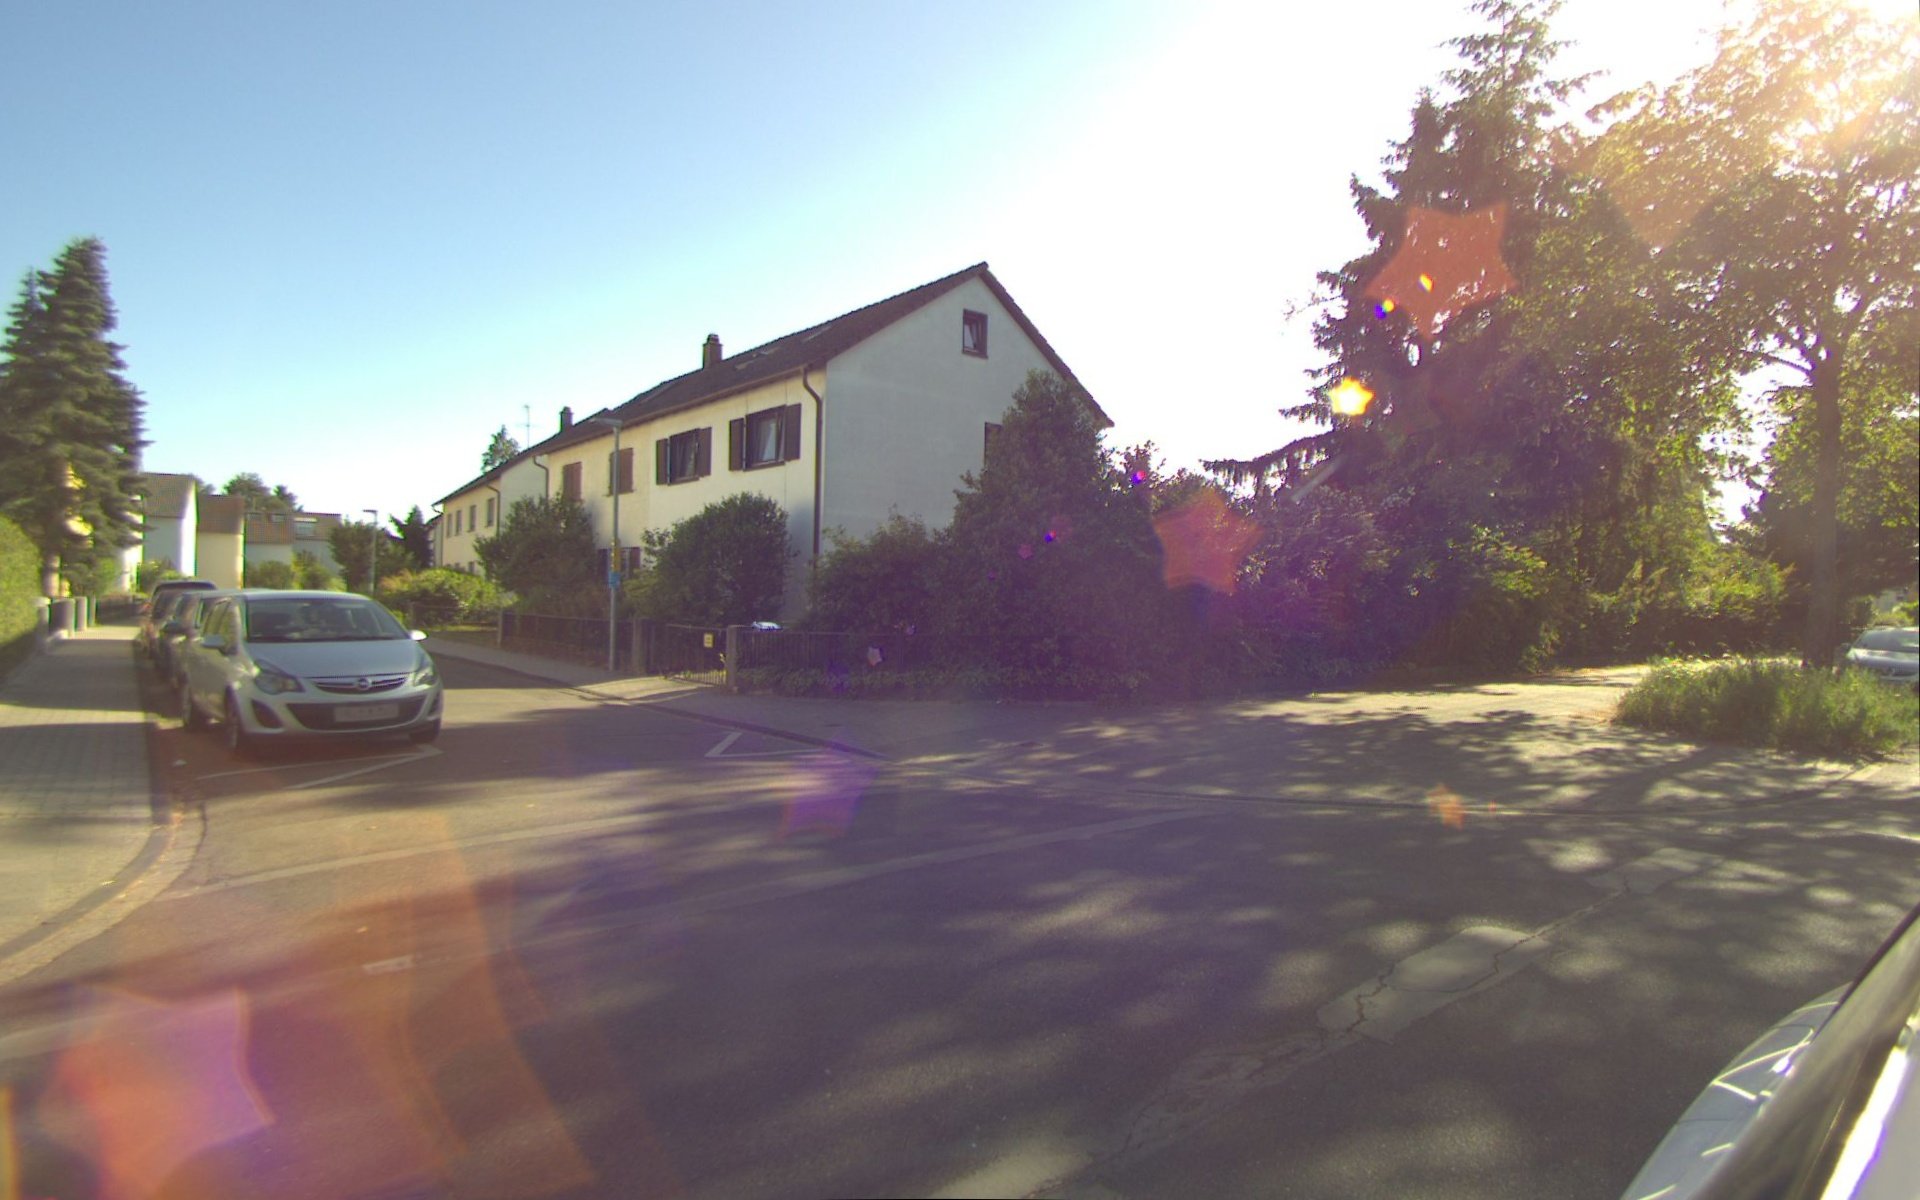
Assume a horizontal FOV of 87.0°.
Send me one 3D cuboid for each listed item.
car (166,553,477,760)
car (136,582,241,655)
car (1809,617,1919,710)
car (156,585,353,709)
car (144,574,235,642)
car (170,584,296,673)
[{"bbox_3d":[-6.525,0.429,10.155,3.988,1.661,1.748,1,0,44],"label":"car"},{"bbox_3d":[-17.272,0.363,22.586,1.619,1.476,3.689,1,0,-41],"label":"car"},{"bbox_3d":[18.182,1.145,19.308,3.922,1.529,2.001,0,1,-33],"label":"car"},{"bbox_3d":[-9.791,0.544,13.931,1.817,1.463,3.754,1,0,-41],"label":"car"},{"bbox_3d":[-20.083,0.178,26.329,1.619,1.628,3.689,1,0,-41],"label":"car"},{"bbox_3d":[-12.487,0.420,17.296,1.397,1.339,3.828,1,0,-41],"label":"car"}]
